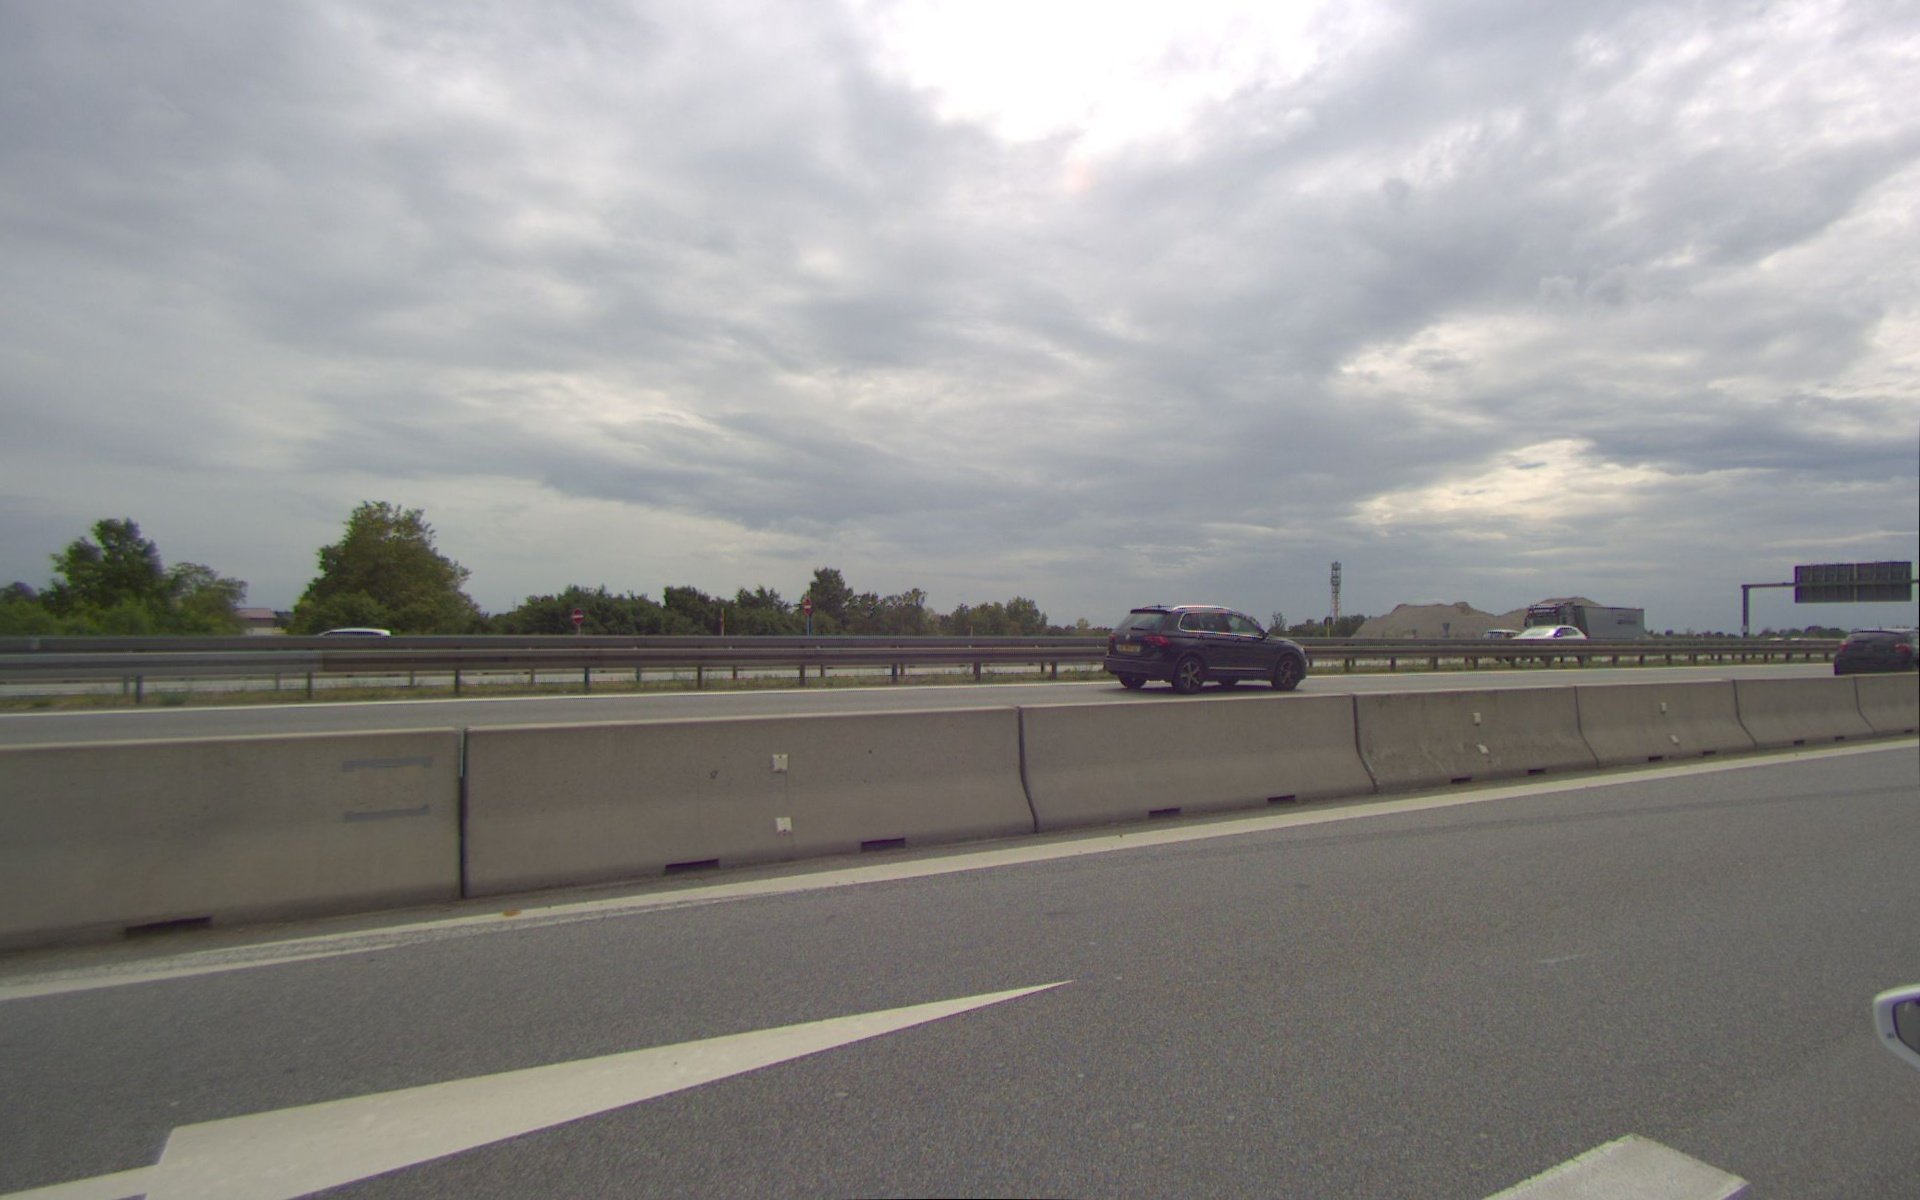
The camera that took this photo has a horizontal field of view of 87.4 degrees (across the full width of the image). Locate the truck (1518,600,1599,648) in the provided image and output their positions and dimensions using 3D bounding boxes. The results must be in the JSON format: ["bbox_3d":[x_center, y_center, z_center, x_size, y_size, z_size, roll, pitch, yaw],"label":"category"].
[{"bbox_3d":[44.300,1.767,74.319,5.565,3.374,3.130,1,0,-34],"label":"truck"}]

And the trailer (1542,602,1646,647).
[{"bbox_3d":[49.107,1.901,77.649,9.723,3.313,3.177,1,0,-34],"label":"trailer"}]

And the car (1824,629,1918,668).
[{"bbox_3d":[34.587,1.825,38.128,3.954,1.394,1.545,1,0,-31],"label":"car"}]

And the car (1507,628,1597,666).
[{"bbox_3d":[25.081,1.971,42.549,3.960,1.488,1.677,1,0,-32],"label":"car"}]

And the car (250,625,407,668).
[{"bbox_3d":[-19.210,1.397,30.706,3.960,1.208,1.678,1,-1,-32],"label":"car"}]

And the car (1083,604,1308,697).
[{"bbox_3d":[4.694,0.953,19.912,4.184,1.660,1.892,1,0,-30],"label":"car"}]

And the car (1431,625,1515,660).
[{"bbox_3d":[23.436,1.922,45.838,3.960,1.488,1.678,1,-2,-32],"label":"car"}]

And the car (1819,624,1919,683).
[{"bbox_3d":[25.978,1.464,28.125,3.953,1.550,1.765,1,-1,-30],"label":"car"}]
